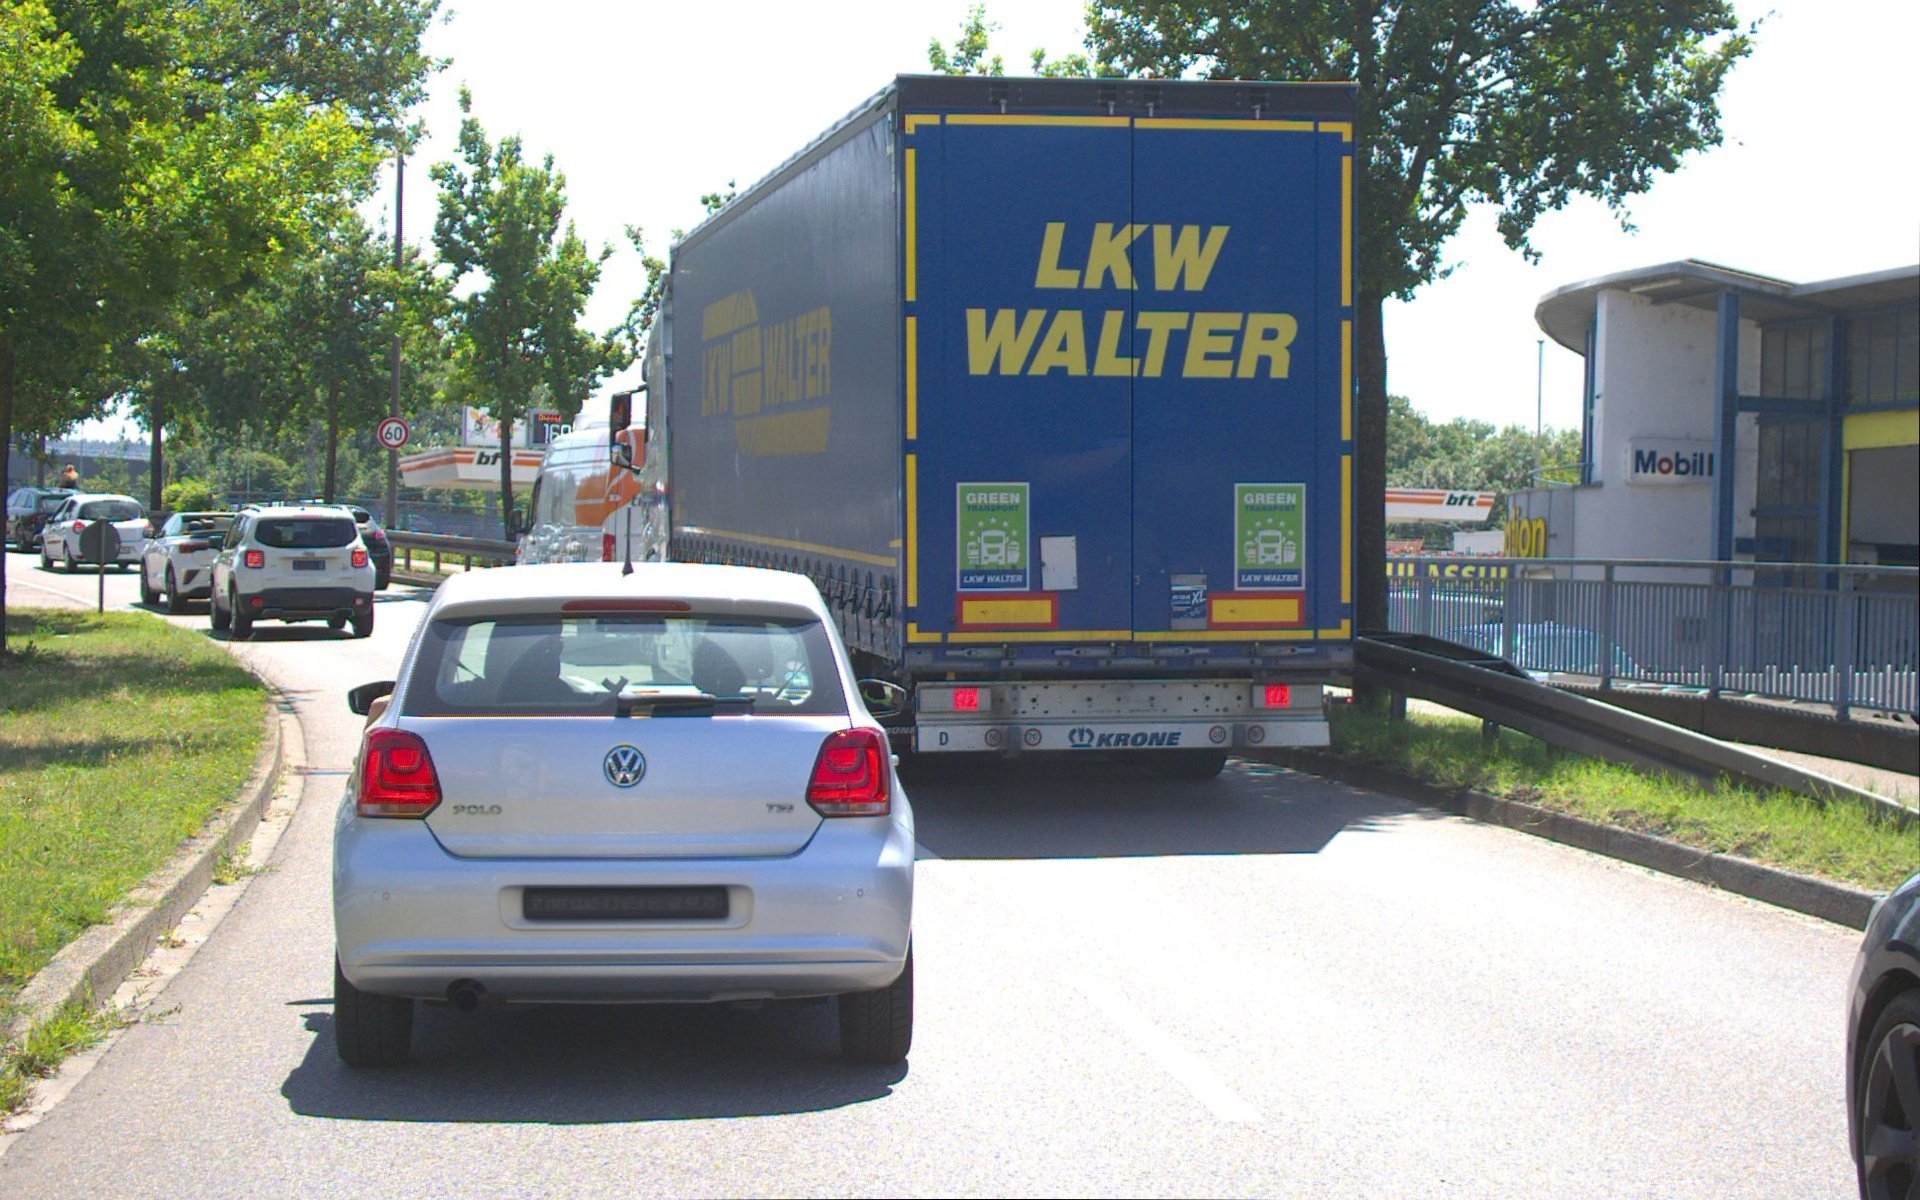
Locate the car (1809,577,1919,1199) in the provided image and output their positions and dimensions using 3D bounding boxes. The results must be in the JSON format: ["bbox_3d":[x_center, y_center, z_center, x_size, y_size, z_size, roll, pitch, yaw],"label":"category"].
[{"bbox_3d":[2.795,0.711,5.175,1.604,1.451,4.236,1,1,-6],"label":"car"}]

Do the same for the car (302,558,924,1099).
[{"bbox_3d":[-1.009,0.598,10.996,1.646,1.434,3.537,1,1,-3],"label":"car"}]

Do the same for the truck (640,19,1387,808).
[{"bbox_3d":[-0.450,-1.178,26.642,2.832,4.184,16.479,1,1,-9],"label":"truck"}]

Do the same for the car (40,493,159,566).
[{"bbox_3d":[-16.651,-1.376,66.423,1.607,1.355,3.663,1,1,-24],"label":"car"}]

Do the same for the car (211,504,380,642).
[{"bbox_3d":[-8.793,-0.364,45.254,1.903,1.712,4.225,1,1,-15],"label":"car"}]

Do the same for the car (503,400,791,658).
[{"bbox_3d":[-3.964,-0.934,42.247,2.175,2.890,6.361,1,2,-17],"label":"car"}]

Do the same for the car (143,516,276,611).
[{"bbox_3d":[-11.444,-0.573,52.304,1.494,1.355,3.664,1,1,-20],"label":"car"}]
